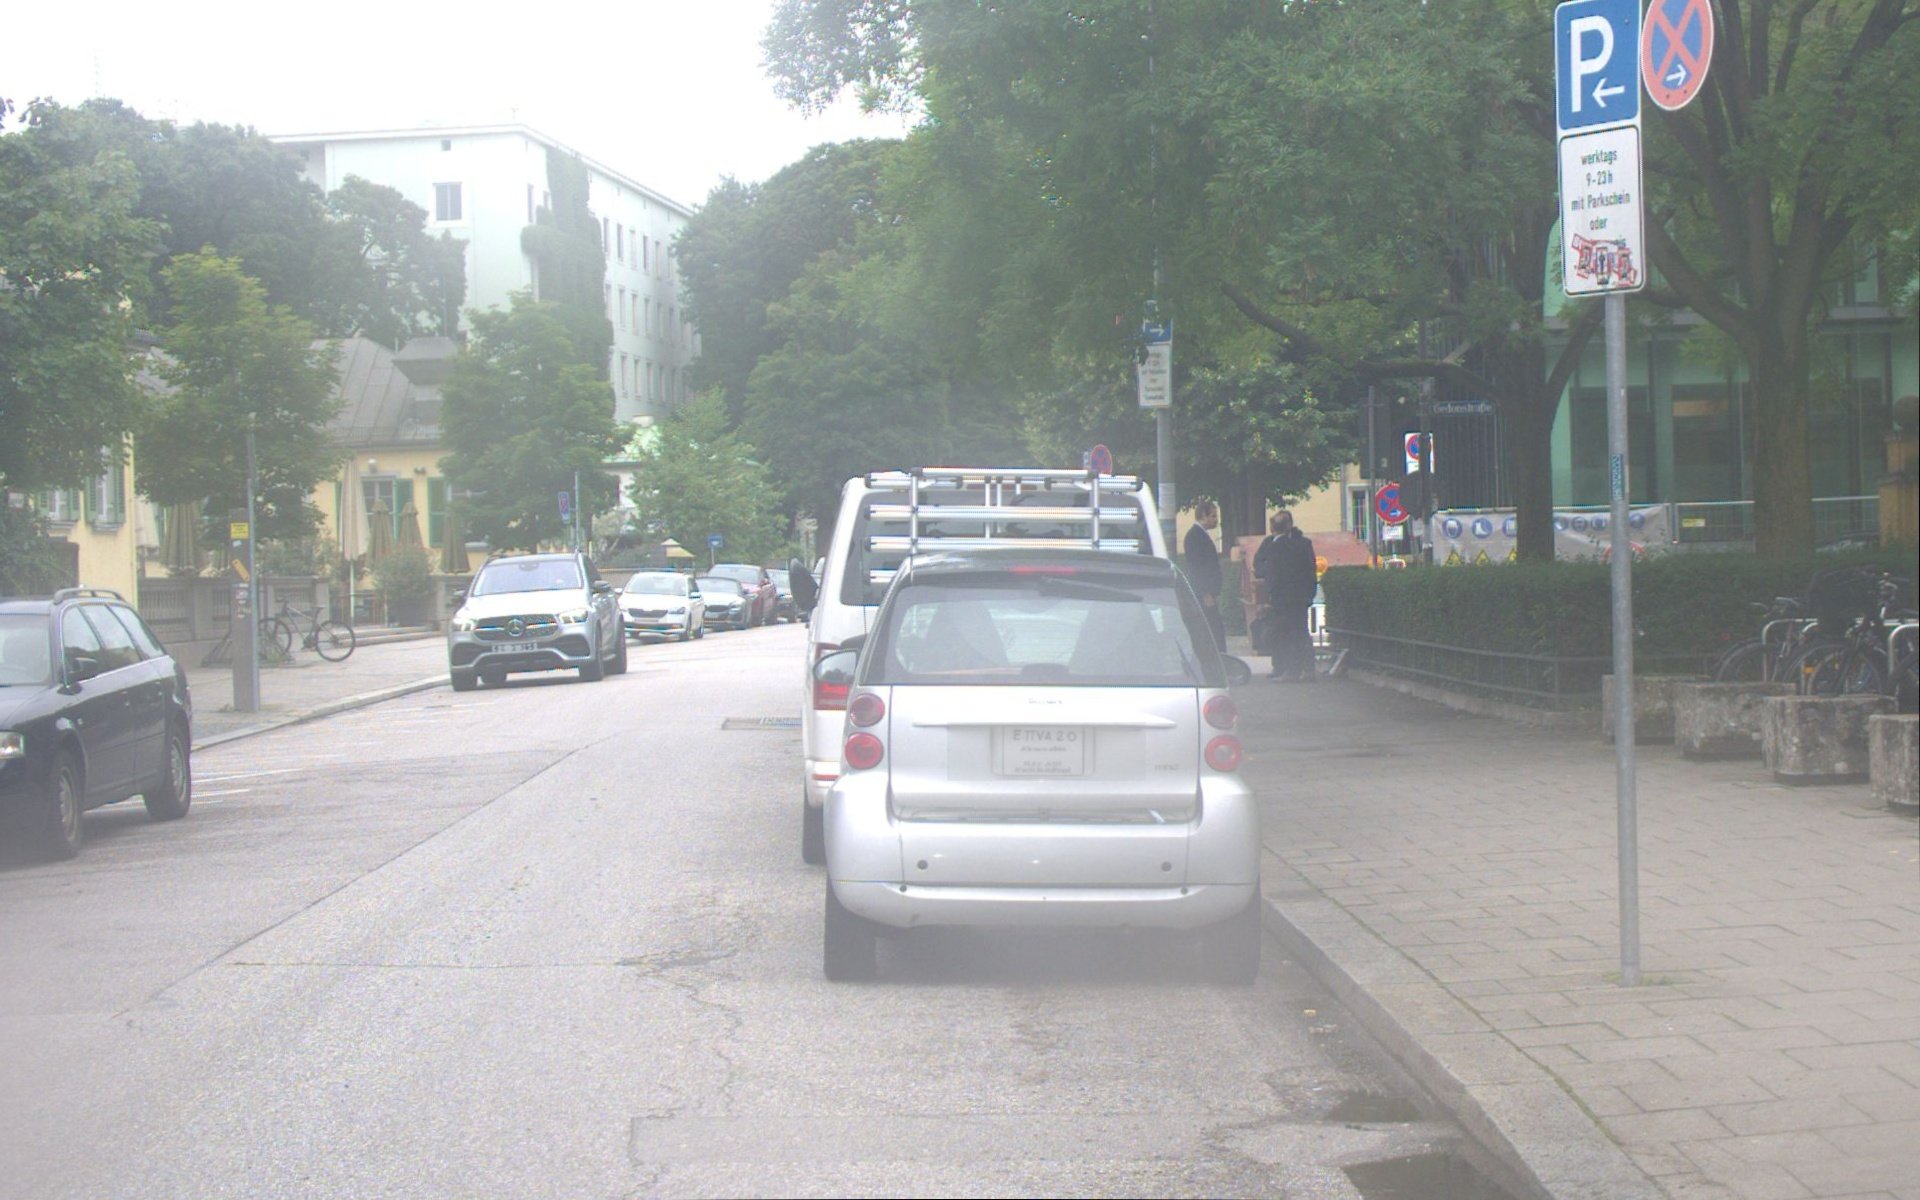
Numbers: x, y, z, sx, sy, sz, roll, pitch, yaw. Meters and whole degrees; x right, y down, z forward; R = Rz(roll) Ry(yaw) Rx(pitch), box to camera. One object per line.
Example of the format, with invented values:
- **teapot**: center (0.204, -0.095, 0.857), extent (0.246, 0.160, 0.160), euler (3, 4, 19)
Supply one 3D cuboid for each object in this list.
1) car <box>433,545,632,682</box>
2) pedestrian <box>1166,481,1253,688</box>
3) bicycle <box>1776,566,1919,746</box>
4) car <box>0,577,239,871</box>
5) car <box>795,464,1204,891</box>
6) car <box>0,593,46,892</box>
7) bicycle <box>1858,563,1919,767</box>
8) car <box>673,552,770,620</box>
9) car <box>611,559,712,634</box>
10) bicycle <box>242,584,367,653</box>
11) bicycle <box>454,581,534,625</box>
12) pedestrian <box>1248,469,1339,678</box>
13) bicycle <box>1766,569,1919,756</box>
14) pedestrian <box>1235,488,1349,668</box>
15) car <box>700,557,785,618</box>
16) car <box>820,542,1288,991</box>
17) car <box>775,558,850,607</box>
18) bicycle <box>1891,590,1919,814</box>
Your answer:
- **car**: center (-5.722, 0.138, 46.568), extent (2.025, 1.683, 4.677), euler (-2, 1, 0)
- **pedestrian**: center (2.630, -0.172, 36.335), extent (0.742, 2.127, 1.056), euler (-2, 1, -1)
- **bicycle**: center (6.346, 0.337, 22.323), extent (1.931, 1.109, 0.471), euler (-3, 1, 1)
- **car**: center (-5.791, 0.674, 20.224), extent (1.993, 1.485, 4.883), euler (-3, 1, 0)
- **car**: center (0.091, 0.323, 18.457), extent (1.845, 1.926, 5.273), euler (1, 1, -2)
- **car**: center (-5.533, 0.749, 14.964), extent (1.922, 1.434, 4.918), euler (-3, 0, -3)
- **bicycle**: center (6.070, 0.320, 19.207), extent (1.931, 1.109, 0.471), euler (-3, 1, 1)
- **car**: center (-6.129, -0.386, 88.748), extent (1.993, 1.643, 4.655), euler (-1, 1, 2)
- **car**: center (-6.581, -0.093, 76.157), extent (1.734, 1.576, 3.787), euler (1, 1, 2)
- **bicycle**: center (-10.815, 0.303, 56.729), extent (1.930, 1.095, 0.615), euler (1, 1, 2)
- **bicycle**: center (-10.286, 0.059, 75.867), extent (1.613, 0.922, 0.651), euler (-1, -1, -25)
- **pedestrian**: center (3.487, -0.282, 36.010), extent (0.742, 2.127, 1.056), euler (-2, 1, -1)
- **bicycle**: center (6.092, 0.363, 21.530), extent (1.931, 1.109, 0.471), euler (-3, 1, 1)
- **pedestrian**: center (3.596, -0.246, 37.224), extent (0.744, 1.901, 1.054), euler (-2, 1, 35)
- **car**: center (-5.919, -0.321, 93.833), extent (1.993, 1.597, 4.000), euler (-1, 0, 1)
- **car**: center (0.305, 0.557, 13.360), extent (1.605, 1.541, 2.934), euler (1, 1, -1)
- **car**: center (-4.772, -0.585, 111.691), extent (1.994, 1.481, 4.000), euler (-2, 1, 4)
- **bicycle**: center (5.724, 0.468, 17.265), extent (1.931, 1.109, 0.471), euler (-3, 1, -3)
